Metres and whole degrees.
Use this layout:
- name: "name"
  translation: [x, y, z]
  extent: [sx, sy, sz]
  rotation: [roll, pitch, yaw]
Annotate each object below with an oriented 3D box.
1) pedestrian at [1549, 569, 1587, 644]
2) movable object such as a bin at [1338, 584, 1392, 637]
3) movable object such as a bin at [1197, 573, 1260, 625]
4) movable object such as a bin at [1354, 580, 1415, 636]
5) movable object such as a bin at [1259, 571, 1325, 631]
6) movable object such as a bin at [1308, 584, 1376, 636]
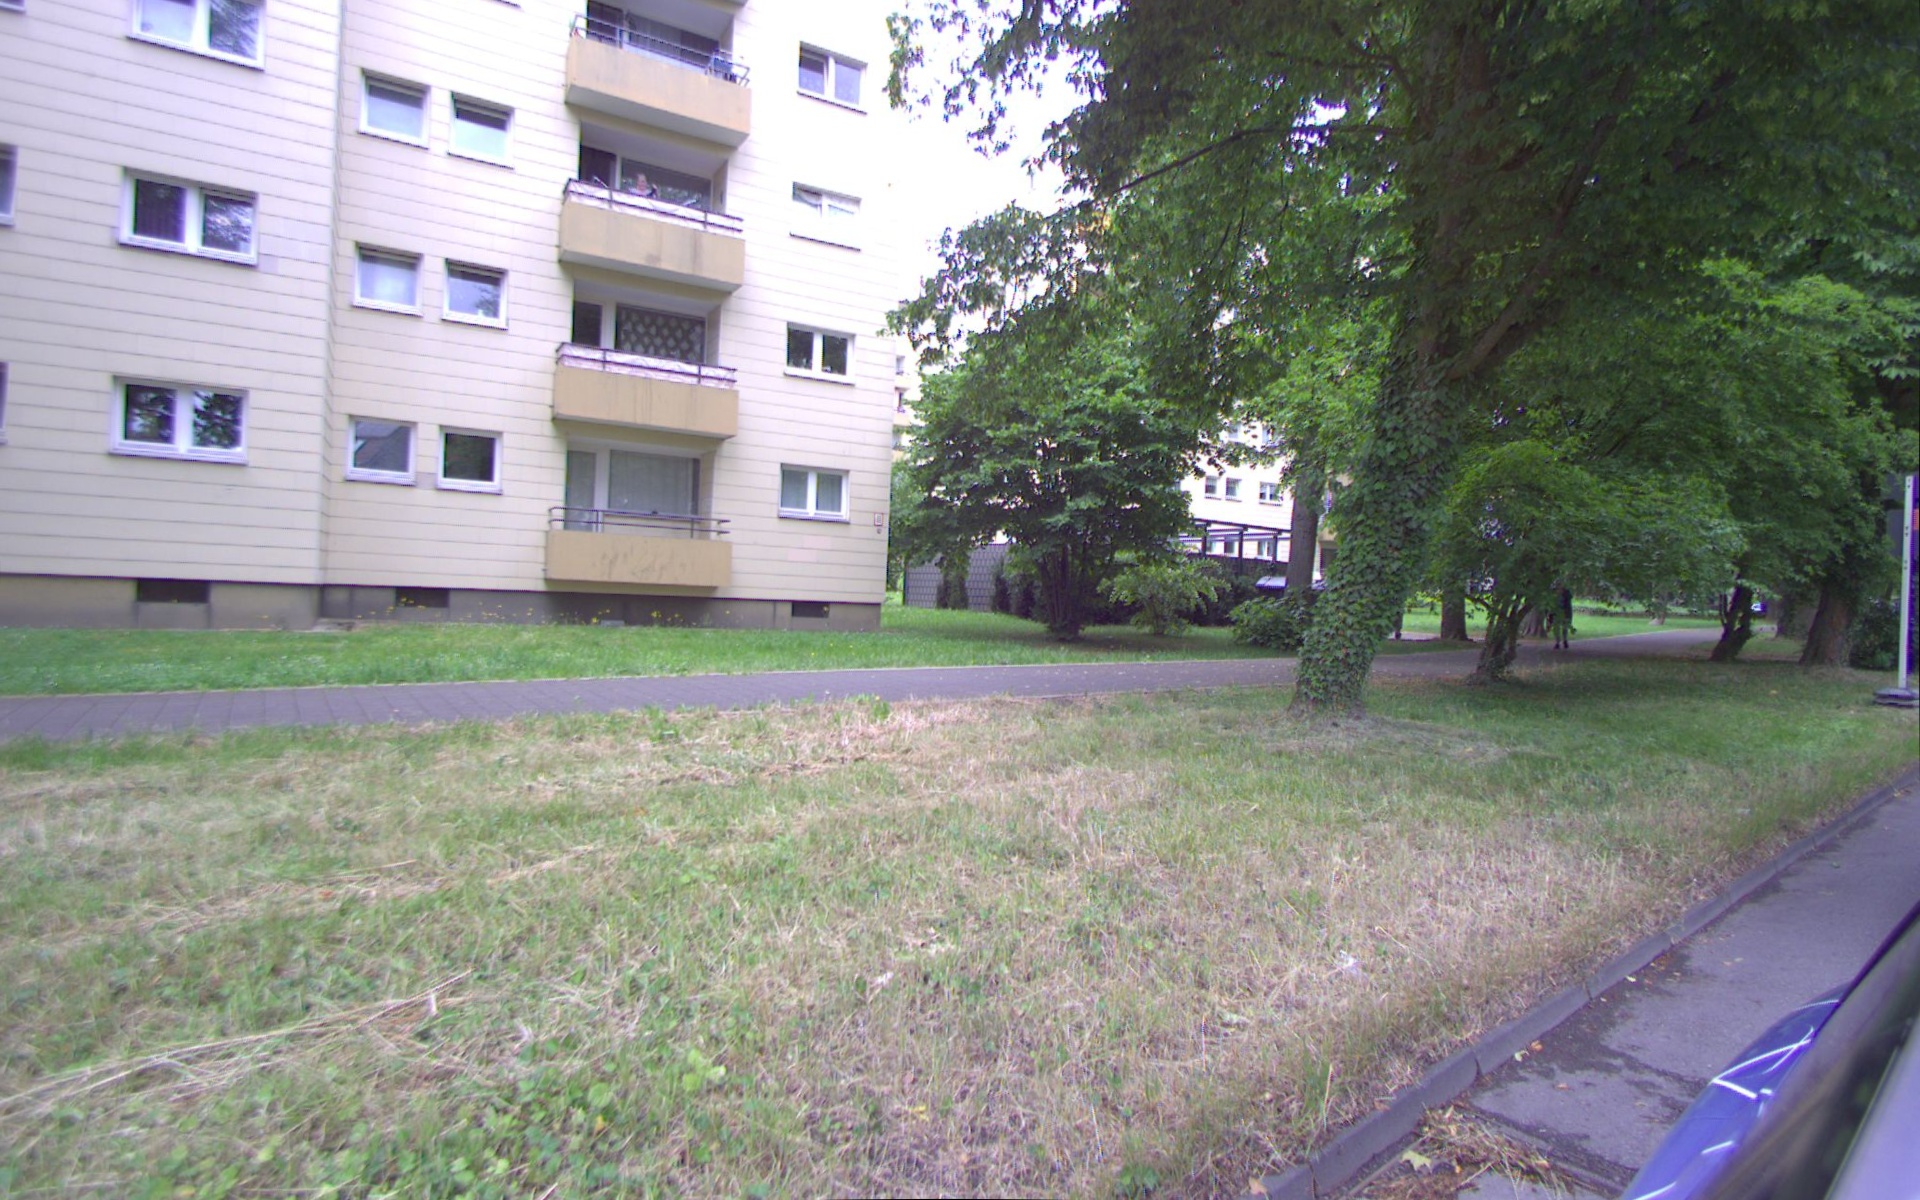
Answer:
- name: "pedestrian"
  translation: [14.747, 0.156, 24.542]
  extent: [0.560, 1.761, 0.565]
  rotation: [1, 2, -41]
- name: "movable object such as a bin"
  translation: [10.551, 0.258, 26.354]
  extent: [1.022, 1.320, 0.946]
  rotation: [3, 2, 41]
- name: "movable object such as a bin"
  translation: [7.412, -0.038, 27.924]
  extent: [1.190, 1.358, 1.328]
  rotation: [3, 2, 41]
- name: "movable object such as a bin"
  translation: [11.352, 0.199, 27.072]
  extent: [1.190, 1.431, 1.094]
  rotation: [3, 2, 41]
- name: "movable object such as a bin"
  translation: [8.674, 0.021, 26.451]
  extent: [1.190, 1.475, 1.328]
  rotation: [3, 2, 41]
- name: "movable object such as a bin"
  translation: [9.664, 0.237, 25.580]
  extent: [1.190, 1.236, 1.329]
  rotation: [3, 2, 41]
